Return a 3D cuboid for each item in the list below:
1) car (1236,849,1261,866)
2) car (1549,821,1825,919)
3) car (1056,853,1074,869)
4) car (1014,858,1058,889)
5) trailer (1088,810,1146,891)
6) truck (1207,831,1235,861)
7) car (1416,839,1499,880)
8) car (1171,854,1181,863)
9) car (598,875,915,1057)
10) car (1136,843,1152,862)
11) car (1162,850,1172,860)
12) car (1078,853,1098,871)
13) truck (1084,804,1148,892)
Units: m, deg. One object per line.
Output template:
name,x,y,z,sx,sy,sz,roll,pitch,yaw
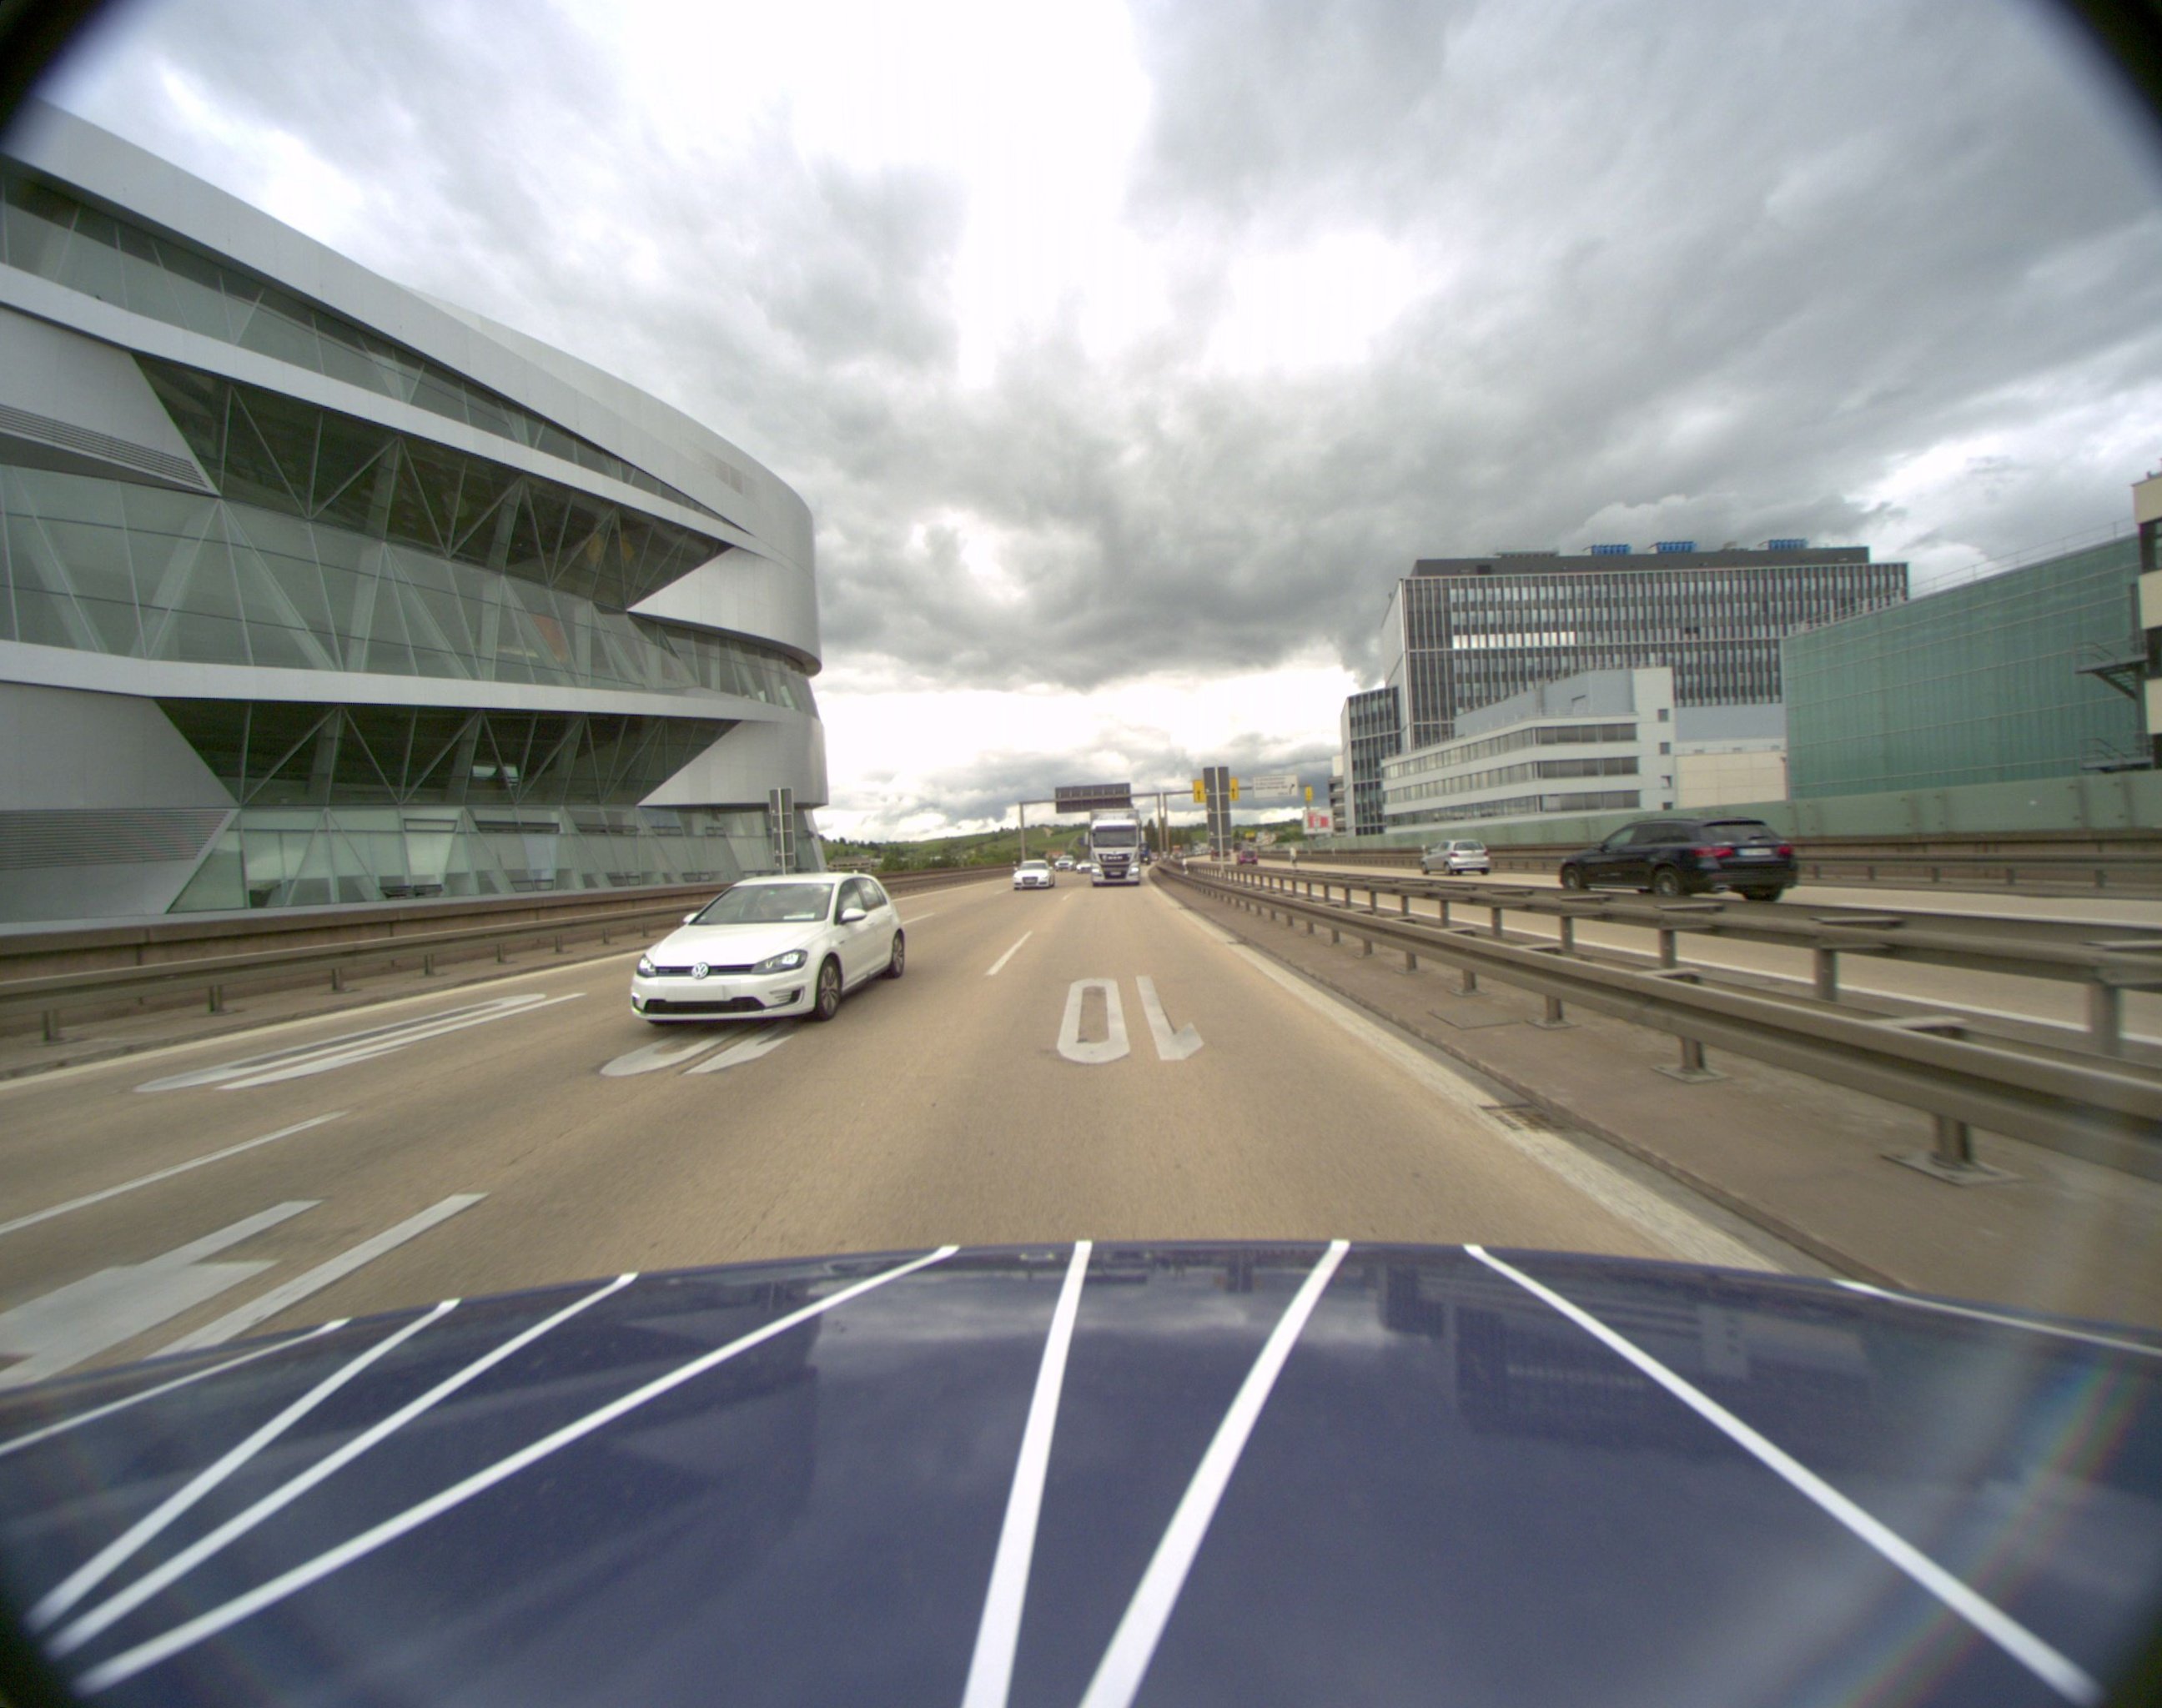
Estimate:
car,15.459,0.324,70.161,1.758,1.474,4.093,-2,0,6
car,11.733,0.281,15.267,1.759,1.609,4.814,-2,0,1
car,-1.718,0.734,82.149,1.785,1.624,3.627,-2,0,0
car,-2.209,0.944,38.529,1.848,1.443,3.933,-2,0,1
trailer,2.283,-0.217,44.999,2.879,4.104,11.223,-2,0,4
truck,20.222,-1.102,110.075,3.268,3.836,13.060,-3,0,8
car,15.736,0.214,31.977,1.687,1.587,3.685,-2,0,1
car,23.766,1.052,190.057,1.997,2.002,4.003,-2,0,11
car,-3.283,1.039,8.672,1.759,1.443,4.072,-2,0,1
car,8.777,-0.266,105.646,2.143,2.494,4.525,-2,0,5
car,18.381,0.243,162.271,1.997,2.002,4.003,-2,0,10
car,0.618,0.713,70.594,1.765,1.624,3.627,-2,0,0
truck,1.911,-0.302,39.889,2.945,4.136,6.293,-2,0,4
